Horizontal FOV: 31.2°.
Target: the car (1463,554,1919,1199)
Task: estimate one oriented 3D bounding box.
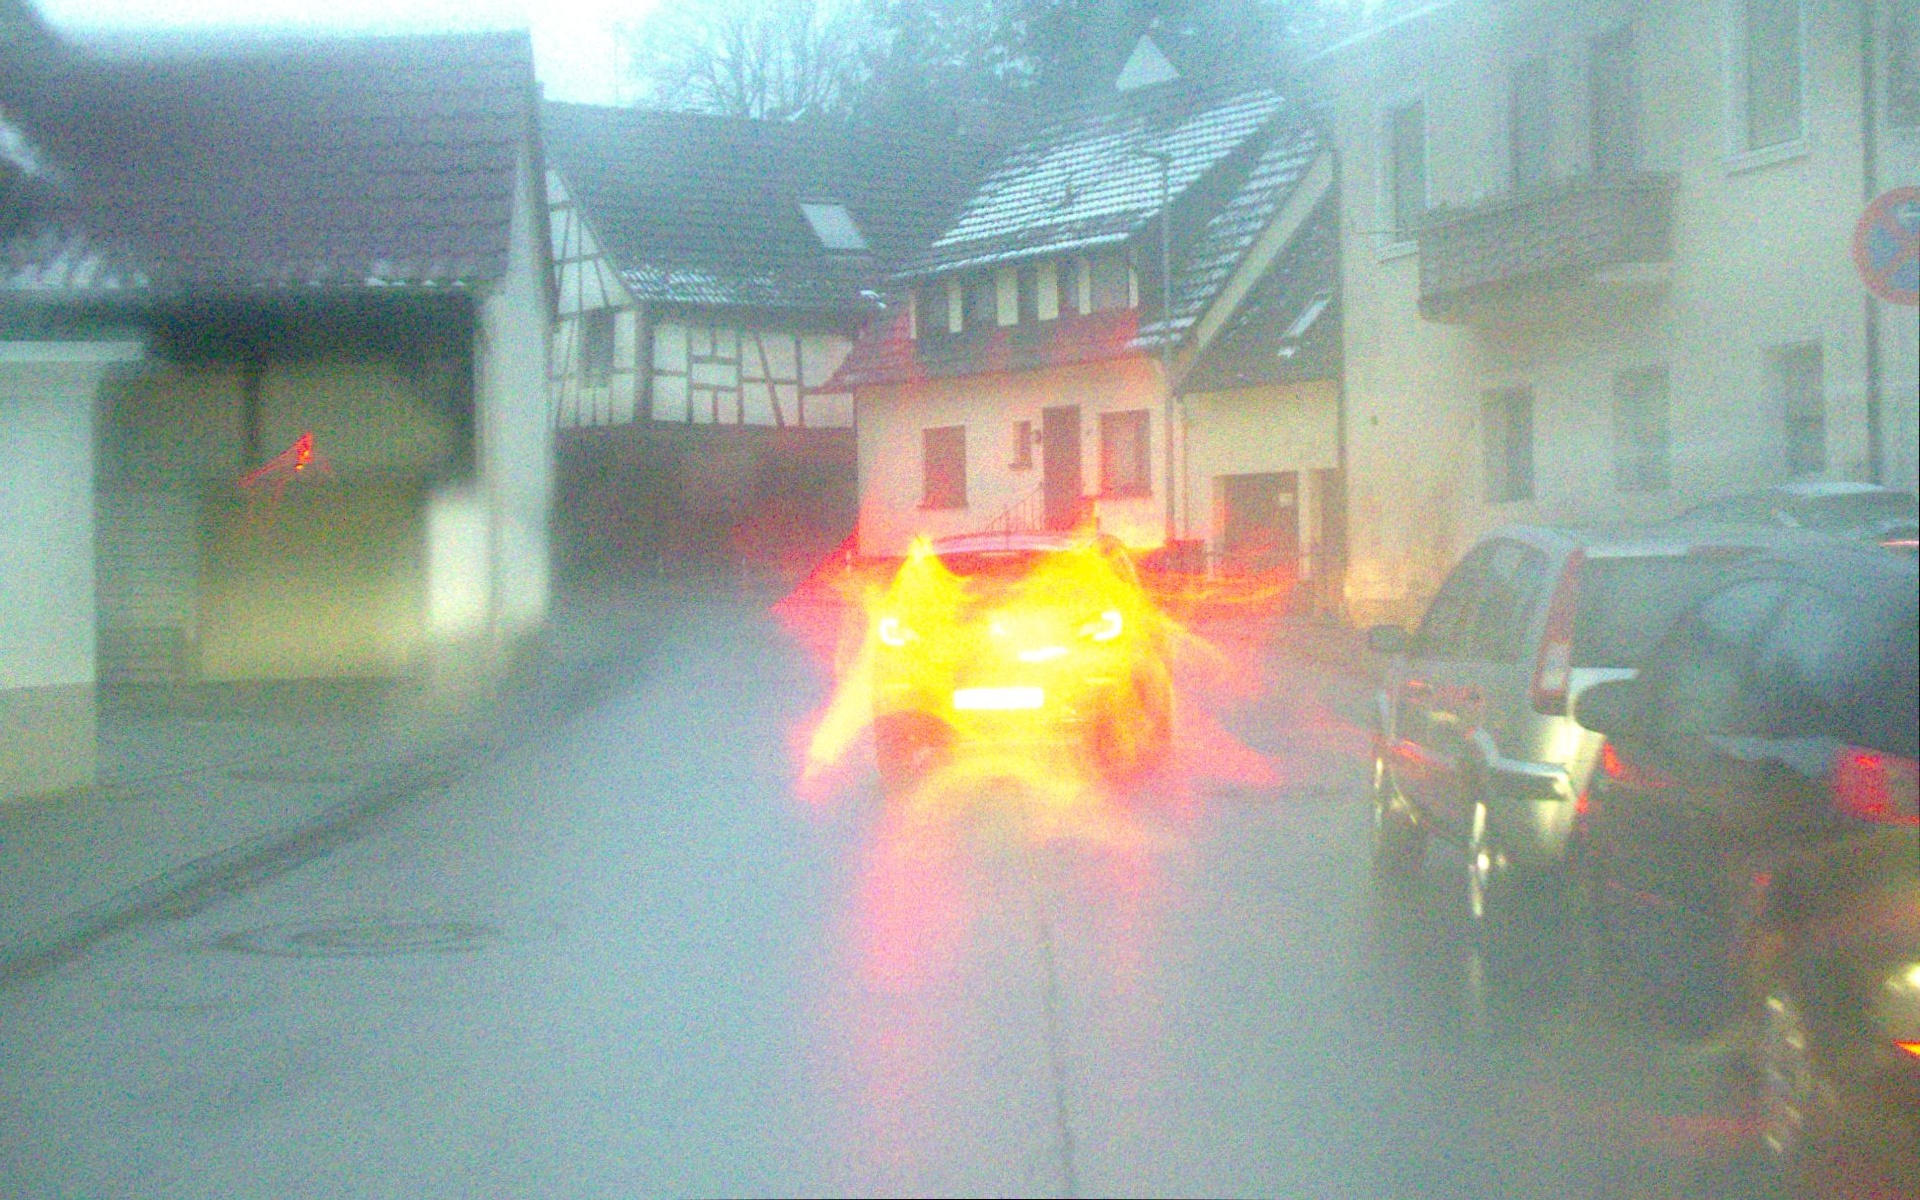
[{"bbox_3d":[2.507,0.633,9.090,1.638,1.466,4.000,1,1,-2],"label":"car"}]

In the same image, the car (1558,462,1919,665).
[{"bbox_3d":[6.682,-0.294,28.187,1.806,1.482,4.279,-4,1,-15],"label":"car"}]

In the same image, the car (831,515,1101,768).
[{"bbox_3d":[0.110,0.201,21.867,1.546,1.461,3.698,0,1,3],"label":"car"}]

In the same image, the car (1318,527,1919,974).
[{"bbox_3d":[2.505,0.467,13.538,1.638,1.489,4.000,1,1,-2],"label":"car"}]
